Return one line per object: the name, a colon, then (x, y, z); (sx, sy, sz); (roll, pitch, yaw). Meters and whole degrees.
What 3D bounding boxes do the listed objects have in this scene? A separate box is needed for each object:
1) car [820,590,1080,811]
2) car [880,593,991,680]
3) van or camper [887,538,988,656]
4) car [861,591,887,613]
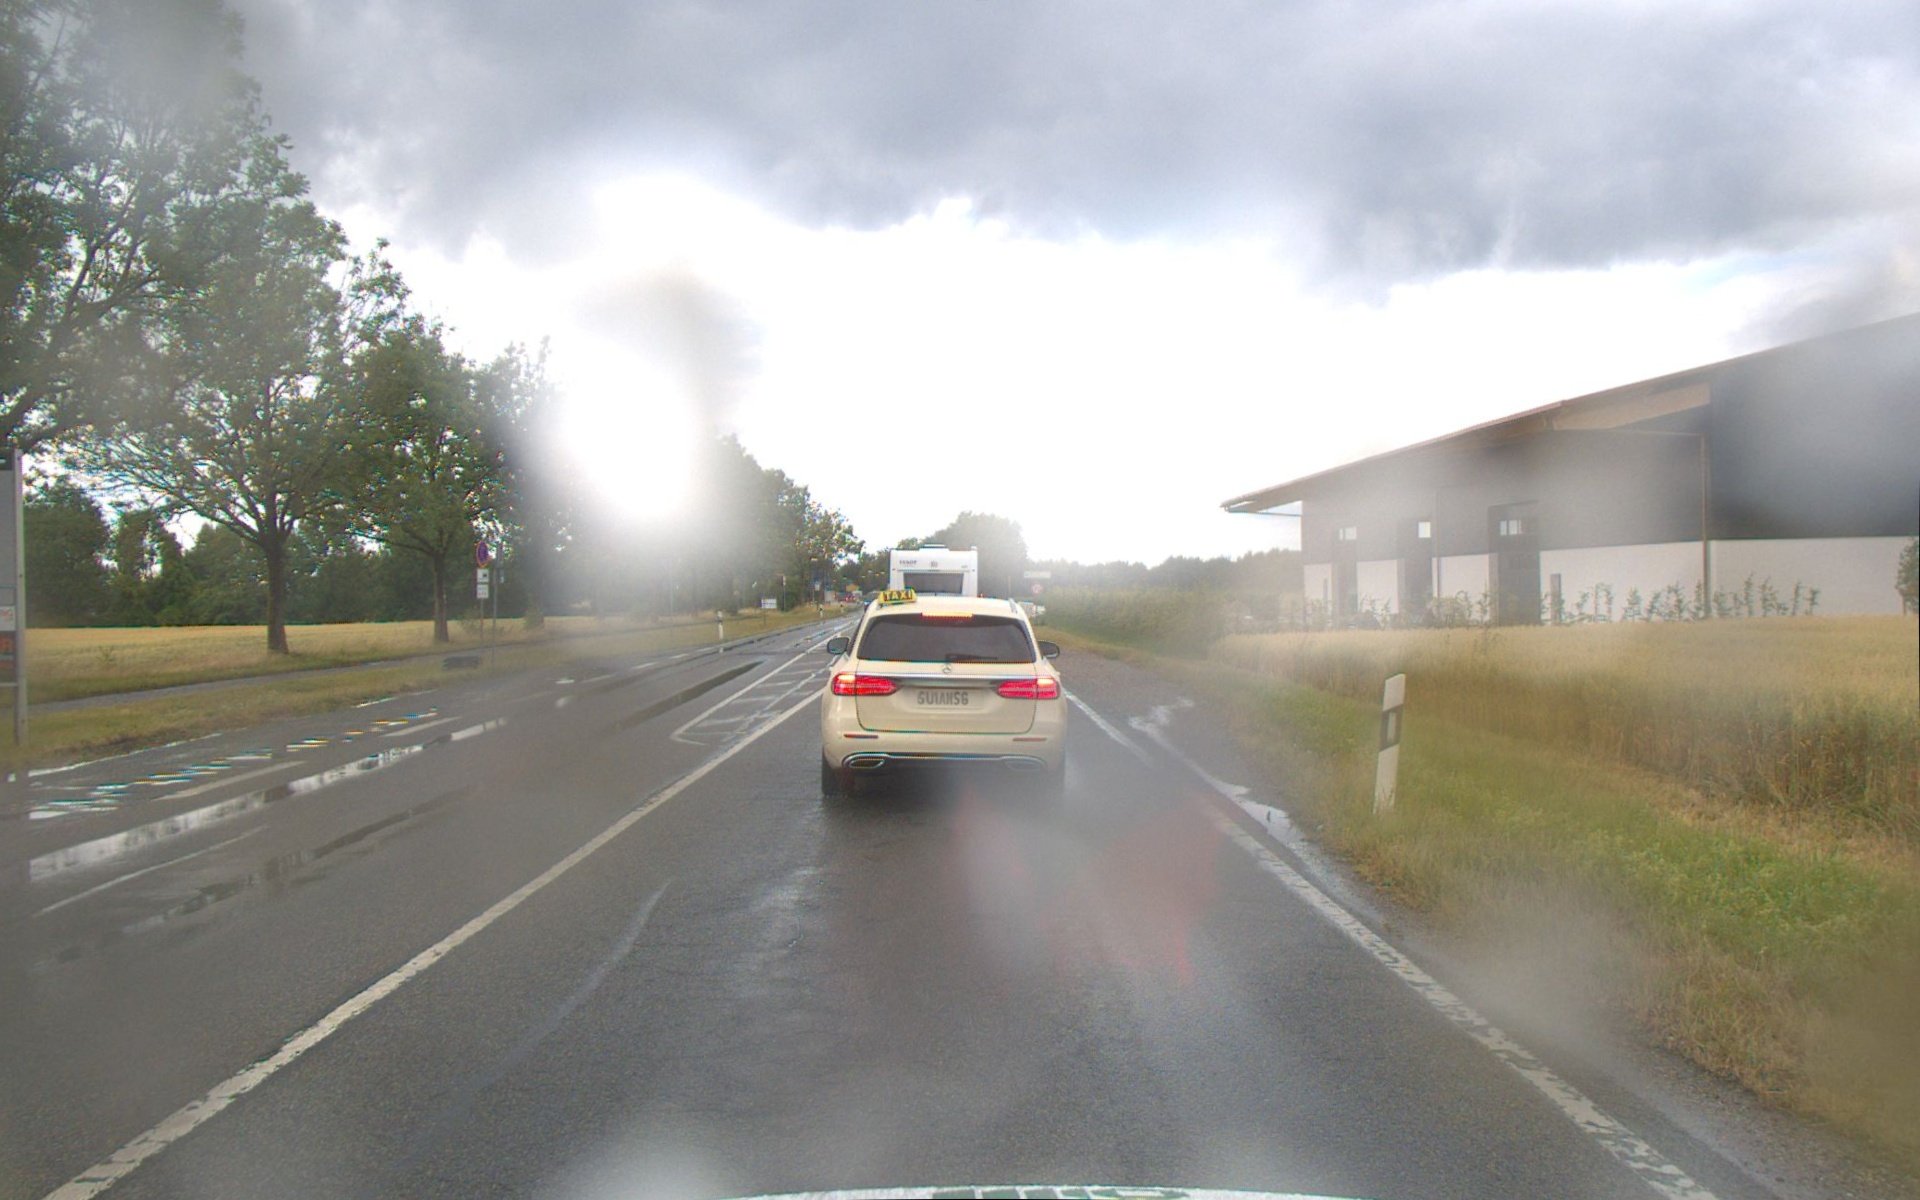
car: (-0.087, 0.671, 13.212); (1.760, 1.490, 4.030); (0, 0, -1)
car: (-0.465, 0.602, 29.669); (1.856, 1.454, 3.926); (0, 0, -2)
van or camper: (-0.570, -0.073, 44.441); (2.446, 2.880, 5.933); (-2, 0, 0)
car: (-6.928, 0.156, 133.797); (1.877, 1.660, 4.356); (-2, 0, -1)
